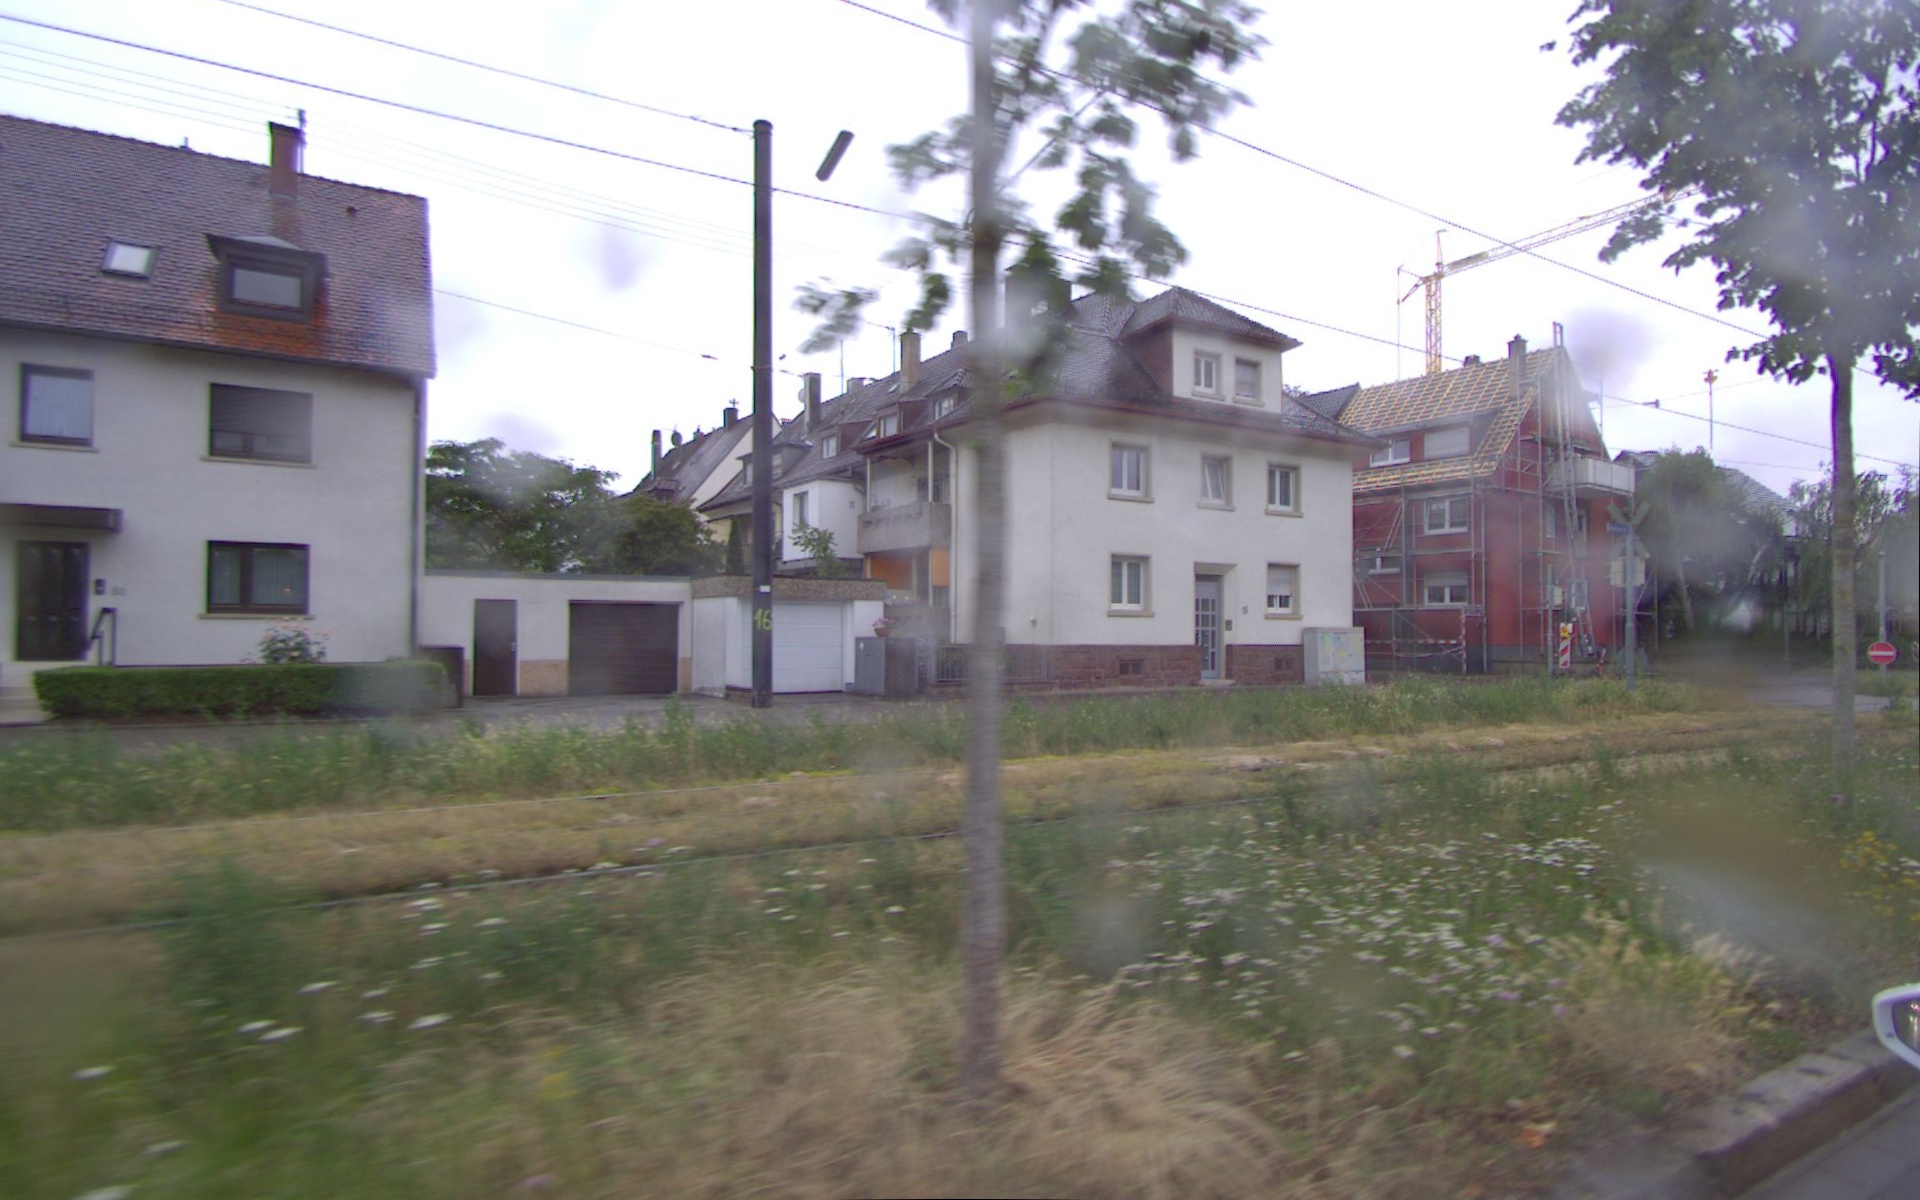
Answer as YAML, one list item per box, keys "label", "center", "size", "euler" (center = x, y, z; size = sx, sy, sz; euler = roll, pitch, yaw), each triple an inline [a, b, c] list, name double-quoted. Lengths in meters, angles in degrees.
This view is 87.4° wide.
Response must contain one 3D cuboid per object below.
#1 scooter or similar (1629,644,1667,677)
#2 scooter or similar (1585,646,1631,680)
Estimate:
- label: "scooter or similar"
  center: [24.852, 2.185, 36.287]
  size: [1.261, 1.196, 0.394]
  euler: [1, -2, -14]
- label: "scooter or similar"
  center: [22.294, 2.163, 34.576]
  size: [1.257, 1.144, 0.441]
  euler: [0, -2, 1]
